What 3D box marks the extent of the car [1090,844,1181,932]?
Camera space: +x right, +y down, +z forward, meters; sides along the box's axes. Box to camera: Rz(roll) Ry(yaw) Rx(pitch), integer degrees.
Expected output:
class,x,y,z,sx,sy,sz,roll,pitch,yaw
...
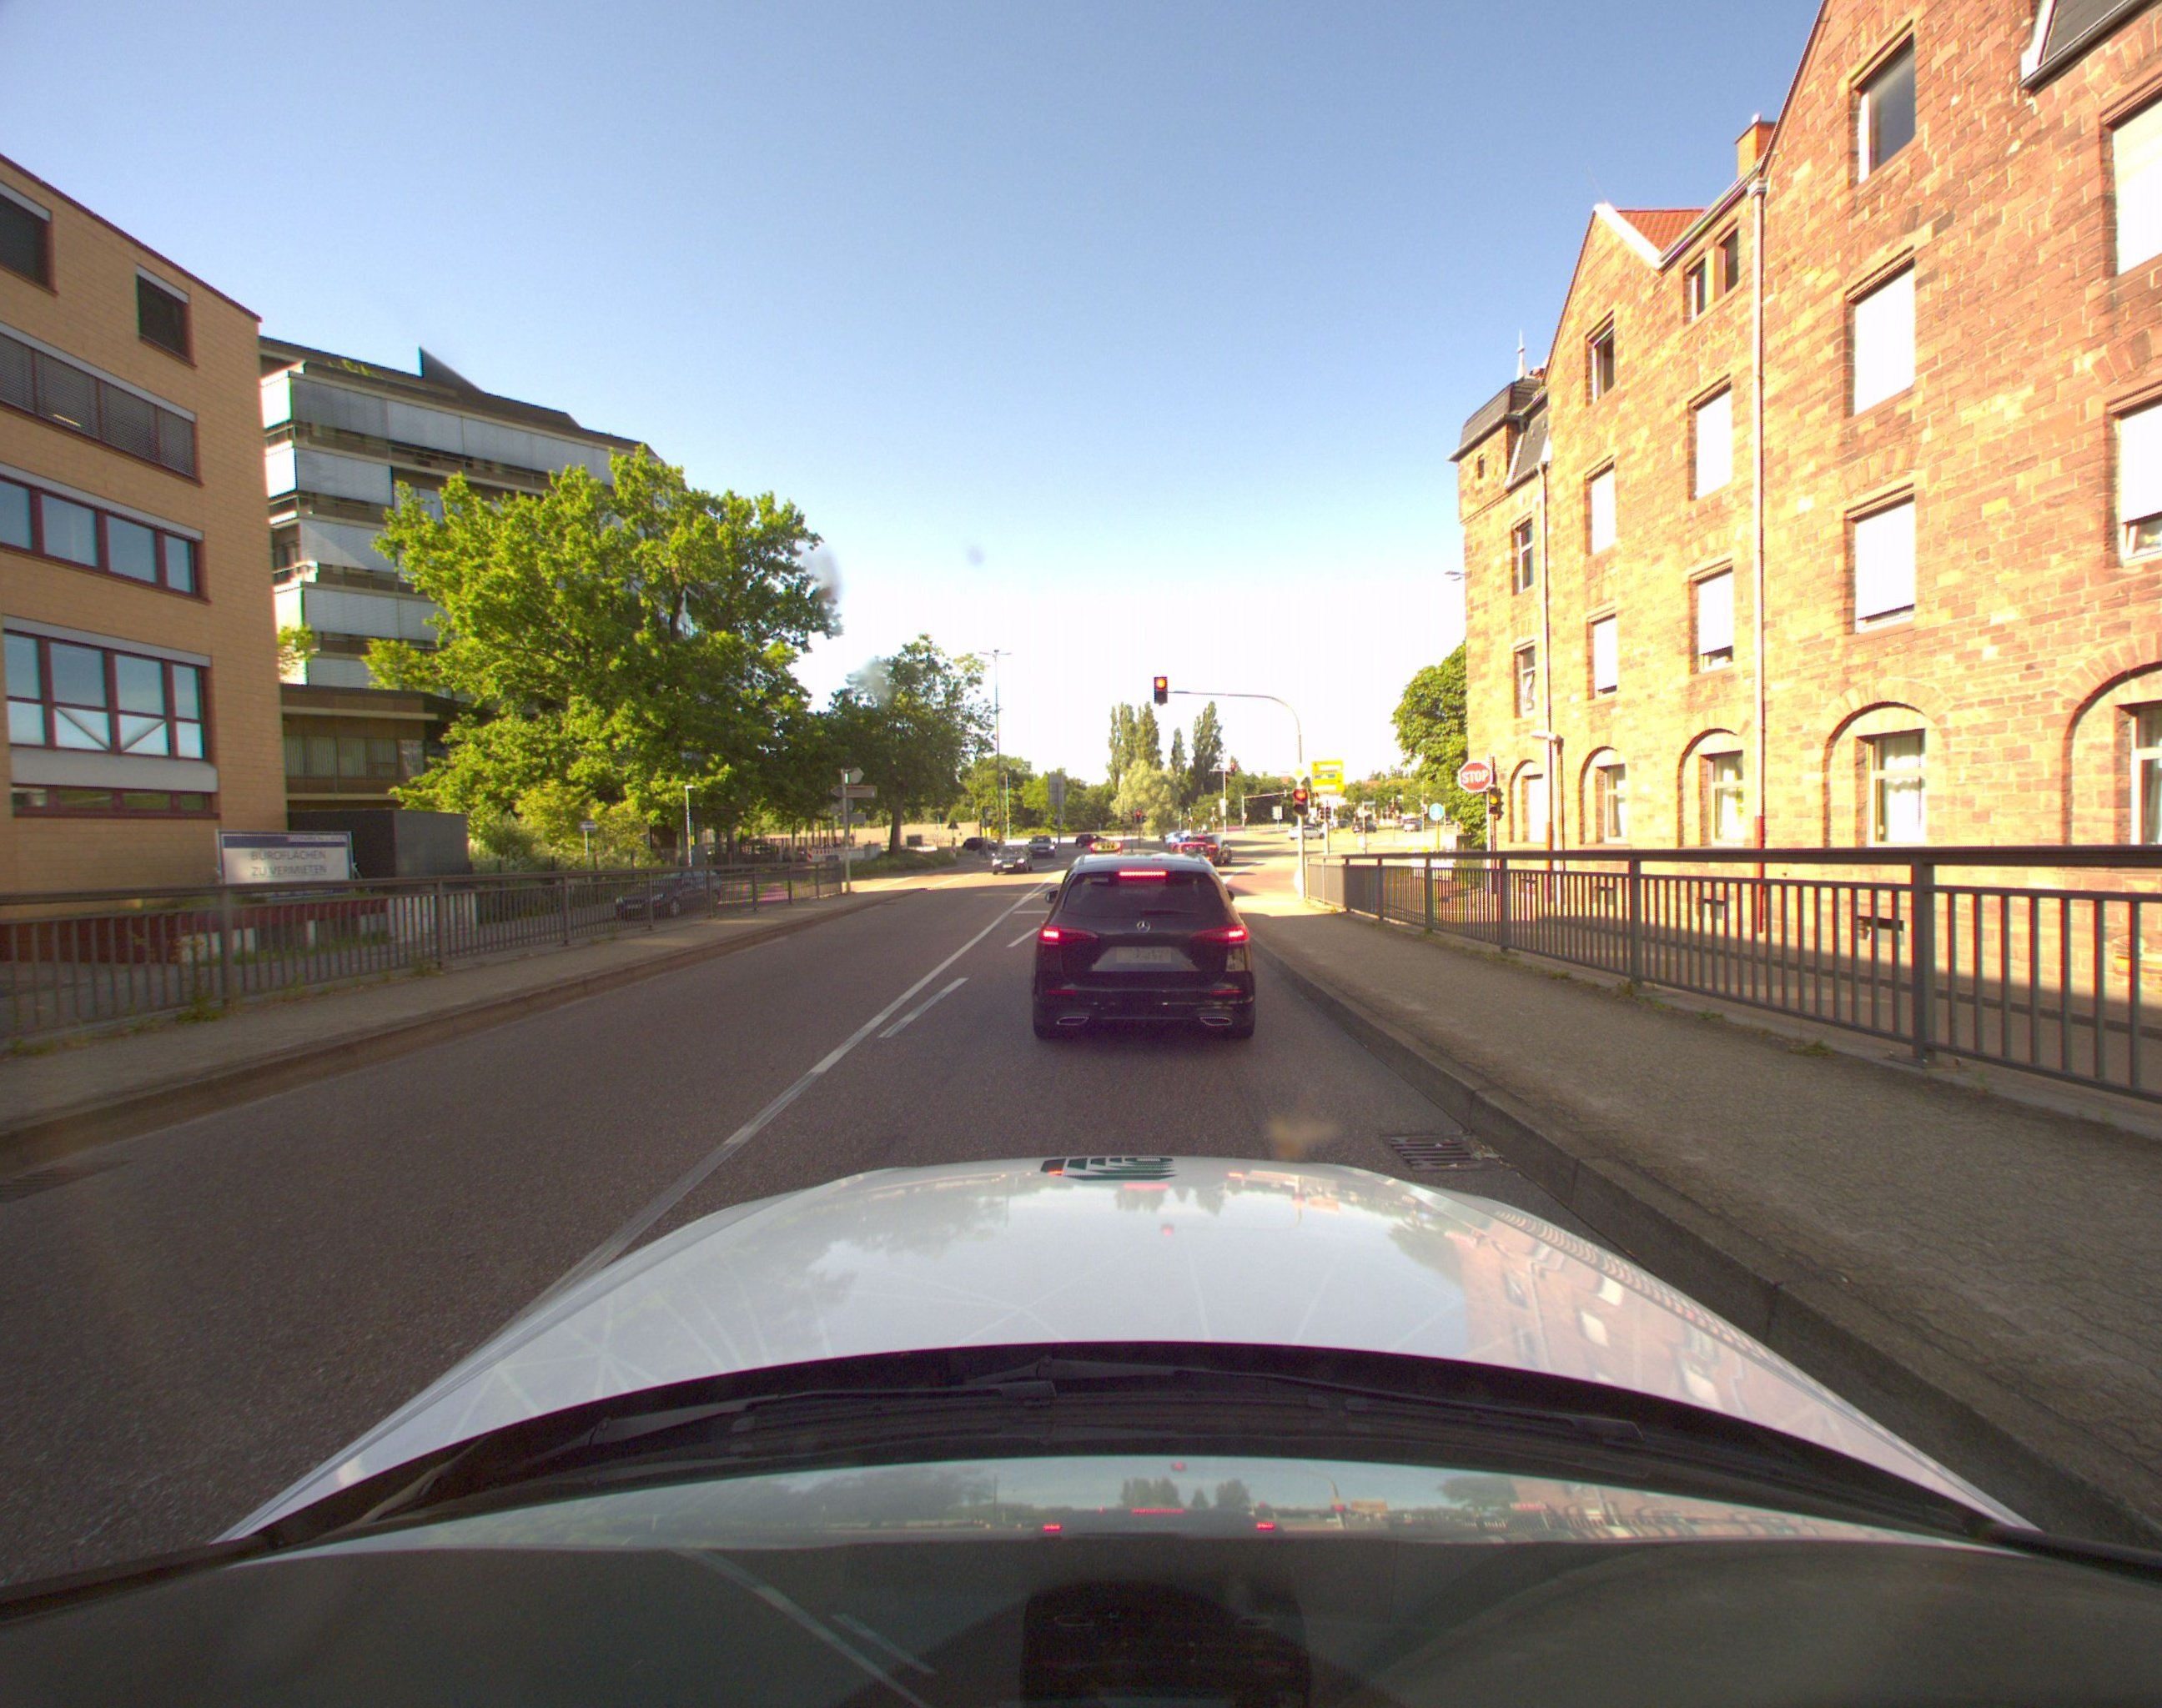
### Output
class,x,y,z,sx,sy,sz,roll,pitch,yaw
car,1.133,0.607,16.824,1.632,1.529,3.478,-2,1,4

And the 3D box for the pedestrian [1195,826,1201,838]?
class,x,y,z,sx,sy,sz,roll,pitch,yaw
pedestrian,15.695,-2.985,109.090,0.446,1.585,0.504,-2,1,42

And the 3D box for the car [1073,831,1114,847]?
class,x,y,z,sx,sy,sz,roll,pitch,yaw
car,1.308,-1.564,85.466,3.962,1.547,1.896,-1,-1,10

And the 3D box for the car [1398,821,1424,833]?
class,x,y,z,sx,sy,sz,roll,pitch,yaw
car,42.045,-3.397,103.669,1.974,1.294,4.625,-1,3,37

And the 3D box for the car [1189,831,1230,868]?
class,x,y,z,sx,sy,sz,roll,pitch,yaw
car,7.132,-0.304,44.941,1.708,1.811,4.316,0,3,16

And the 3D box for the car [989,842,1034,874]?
class,x,y,z,sx,sy,sz,roll,pitch,yaw
car,-3.477,0.159,41.508,1.735,1.407,4.203,-2,2,2

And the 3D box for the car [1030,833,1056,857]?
class,x,y,z,sx,sy,sz,roll,pitch,yaw
car,-2.763,-0.664,59.405,1.800,1.623,3.996,-1,2,-3

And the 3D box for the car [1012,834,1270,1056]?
class,x,y,z,sx,sy,sz,roll,pitch,yaw
car,0.498,0.649,7.945,1.871,1.613,4.002,0,0,2

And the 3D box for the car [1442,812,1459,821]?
class,x,y,z,sx,sy,sz,roll,pitch,yaw
car,61.833,-6.253,136.250,1.764,1.357,4.105,-1,3,35

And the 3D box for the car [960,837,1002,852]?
class,x,y,z,sx,sy,sz,roll,pitch,yaw
car,-10.370,-0.967,84.803,3.968,1.498,1.747,-1,0,4

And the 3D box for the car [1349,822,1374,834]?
class,x,y,z,sx,sy,sz,roll,pitch,yaw
car,35.356,-3.239,102.480,1.862,1.294,4.625,-1,3,33

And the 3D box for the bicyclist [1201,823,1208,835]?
class,x,y,z,sx,sy,sz,roll,pitch,yaw
bicyclist,15.947,-3.260,105.134,0.521,1.551,0.812,-2,1,43

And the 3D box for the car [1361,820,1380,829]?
class,x,y,z,sx,sy,sz,roll,pitch,yaw
car,49.652,-5.068,139.712,1.860,1.578,4.026,-1,2,38

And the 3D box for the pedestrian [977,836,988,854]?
class,x,y,z,sx,sy,sz,roll,pitch,yaw
pedestrian,-8.303,-0.785,68.386,0.700,1.525,0.746,-1,1,12

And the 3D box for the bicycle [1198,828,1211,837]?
class,x,y,z,sx,sy,sz,roll,pitch,yaw
bicycle,15.960,-2.791,105.154,0.521,1.050,2.002,-2,1,43

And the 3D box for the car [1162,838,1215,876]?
class,x,y,z,sx,sy,sz,roll,pitch,yaw
car,4.872,0.104,37.170,1.718,1.521,3.482,-2,3,-4

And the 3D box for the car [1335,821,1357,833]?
class,x,y,z,sx,sy,sz,roll,pitch,yaw
car,38.768,-4.002,119.175,1.860,1.578,4.026,-1,2,38

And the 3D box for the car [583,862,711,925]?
class,x,y,z,sx,sy,sz,roll,pitch,yaw
car,-13.955,1.204,26.497,1.844,1.692,4.002,-2,2,2

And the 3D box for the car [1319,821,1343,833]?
class,x,y,z,sx,sy,sz,roll,pitch,yaw
car,35.070,-3.754,114.102,1.860,1.578,4.026,-1,2,38

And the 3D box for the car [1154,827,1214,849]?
class,x,y,z,sx,sy,sz,roll,pitch,yaw
car,8.134,-1.243,64.497,4.346,1.592,1.935,0,3,37

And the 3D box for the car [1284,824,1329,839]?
class,x,y,z,sx,sy,sz,roll,pitch,yaw
car,23.734,-2.370,85.660,4.324,1.365,1.983,-4,3,-27
